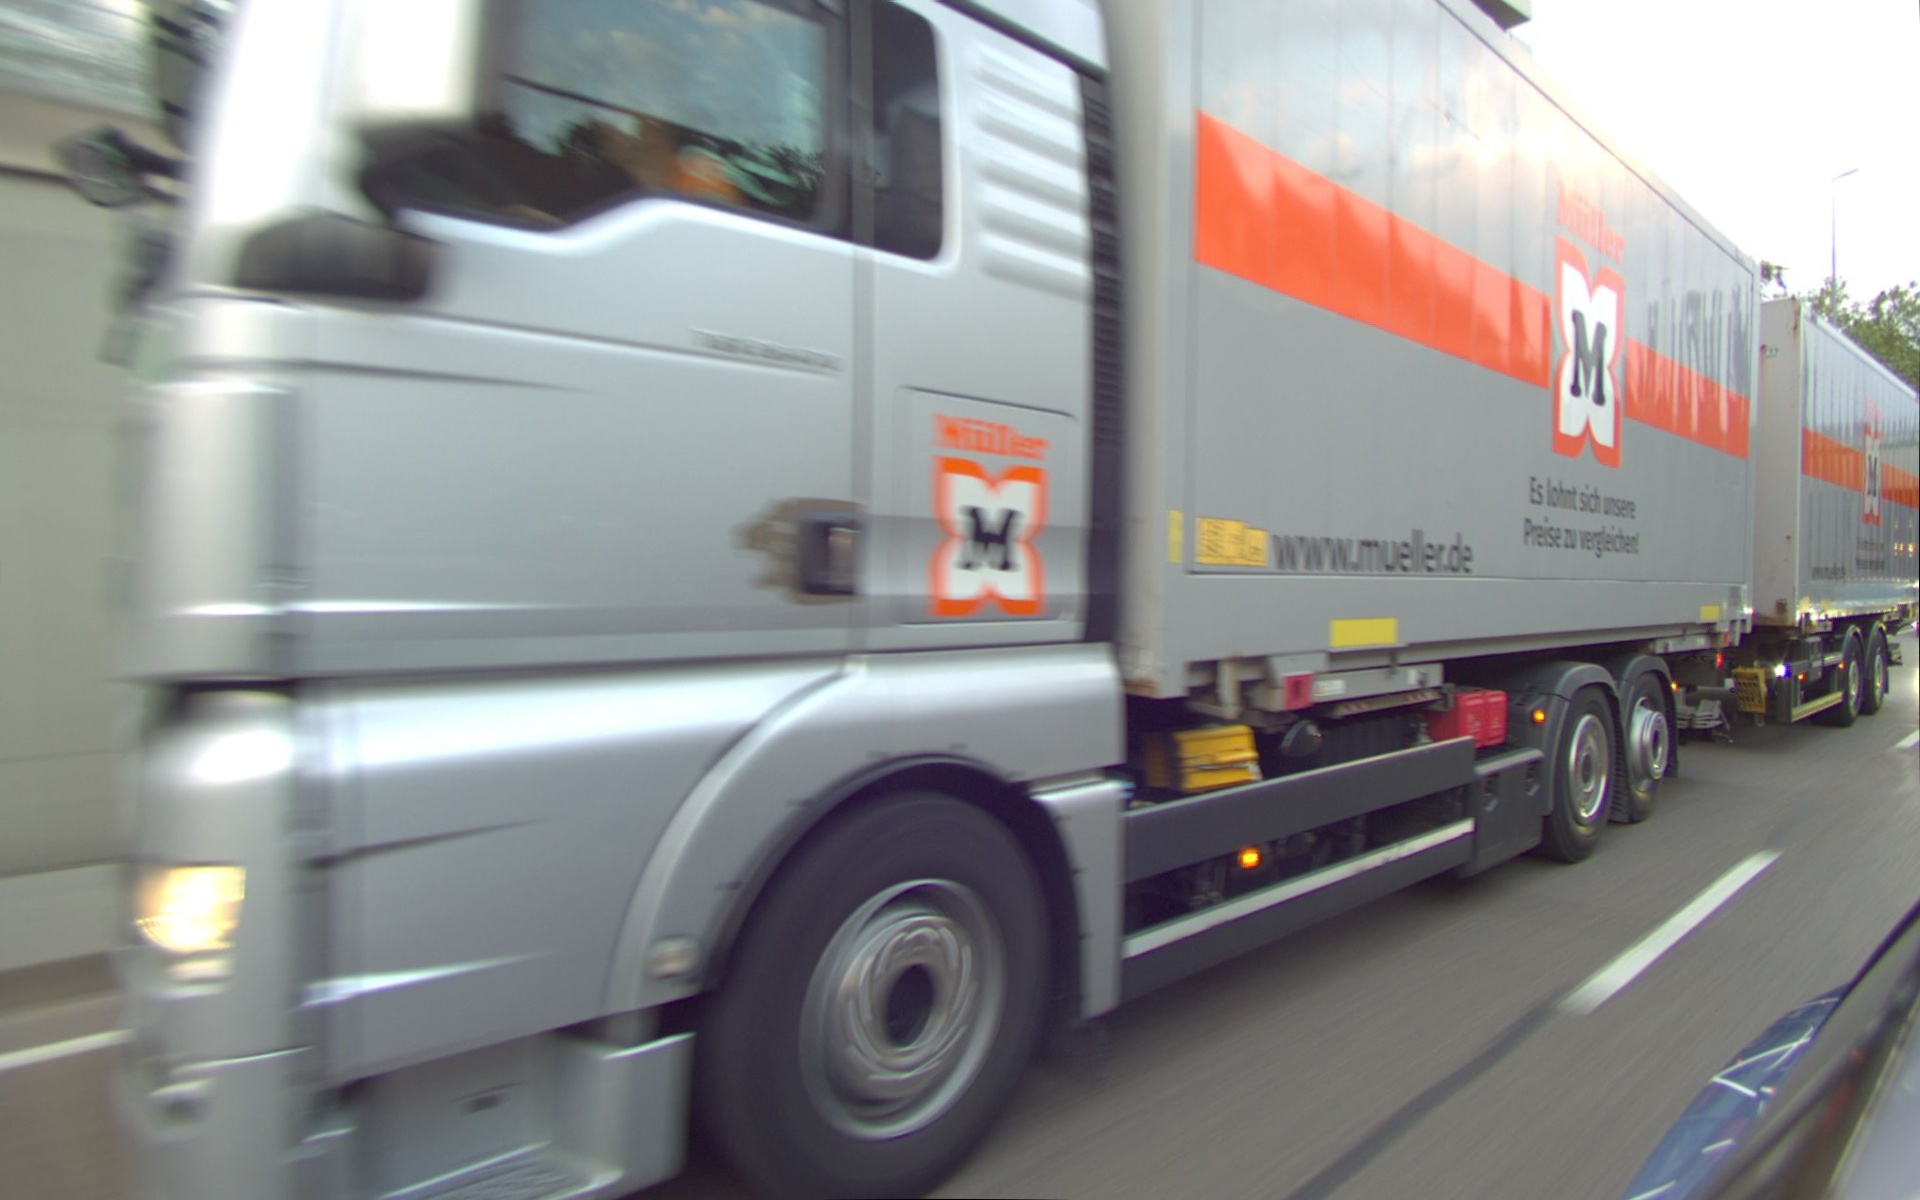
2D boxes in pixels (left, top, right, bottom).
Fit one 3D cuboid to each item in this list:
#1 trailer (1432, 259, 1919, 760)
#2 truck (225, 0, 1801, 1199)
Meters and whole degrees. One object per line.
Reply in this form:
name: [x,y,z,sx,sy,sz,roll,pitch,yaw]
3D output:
trailer: [8.997,-0.768,11.844,8.789,3.907,2.881,-1,1,-40]
truck: [1.881,-0.655,5.821,9.734,3.962,2.894,-1,1,-40]
